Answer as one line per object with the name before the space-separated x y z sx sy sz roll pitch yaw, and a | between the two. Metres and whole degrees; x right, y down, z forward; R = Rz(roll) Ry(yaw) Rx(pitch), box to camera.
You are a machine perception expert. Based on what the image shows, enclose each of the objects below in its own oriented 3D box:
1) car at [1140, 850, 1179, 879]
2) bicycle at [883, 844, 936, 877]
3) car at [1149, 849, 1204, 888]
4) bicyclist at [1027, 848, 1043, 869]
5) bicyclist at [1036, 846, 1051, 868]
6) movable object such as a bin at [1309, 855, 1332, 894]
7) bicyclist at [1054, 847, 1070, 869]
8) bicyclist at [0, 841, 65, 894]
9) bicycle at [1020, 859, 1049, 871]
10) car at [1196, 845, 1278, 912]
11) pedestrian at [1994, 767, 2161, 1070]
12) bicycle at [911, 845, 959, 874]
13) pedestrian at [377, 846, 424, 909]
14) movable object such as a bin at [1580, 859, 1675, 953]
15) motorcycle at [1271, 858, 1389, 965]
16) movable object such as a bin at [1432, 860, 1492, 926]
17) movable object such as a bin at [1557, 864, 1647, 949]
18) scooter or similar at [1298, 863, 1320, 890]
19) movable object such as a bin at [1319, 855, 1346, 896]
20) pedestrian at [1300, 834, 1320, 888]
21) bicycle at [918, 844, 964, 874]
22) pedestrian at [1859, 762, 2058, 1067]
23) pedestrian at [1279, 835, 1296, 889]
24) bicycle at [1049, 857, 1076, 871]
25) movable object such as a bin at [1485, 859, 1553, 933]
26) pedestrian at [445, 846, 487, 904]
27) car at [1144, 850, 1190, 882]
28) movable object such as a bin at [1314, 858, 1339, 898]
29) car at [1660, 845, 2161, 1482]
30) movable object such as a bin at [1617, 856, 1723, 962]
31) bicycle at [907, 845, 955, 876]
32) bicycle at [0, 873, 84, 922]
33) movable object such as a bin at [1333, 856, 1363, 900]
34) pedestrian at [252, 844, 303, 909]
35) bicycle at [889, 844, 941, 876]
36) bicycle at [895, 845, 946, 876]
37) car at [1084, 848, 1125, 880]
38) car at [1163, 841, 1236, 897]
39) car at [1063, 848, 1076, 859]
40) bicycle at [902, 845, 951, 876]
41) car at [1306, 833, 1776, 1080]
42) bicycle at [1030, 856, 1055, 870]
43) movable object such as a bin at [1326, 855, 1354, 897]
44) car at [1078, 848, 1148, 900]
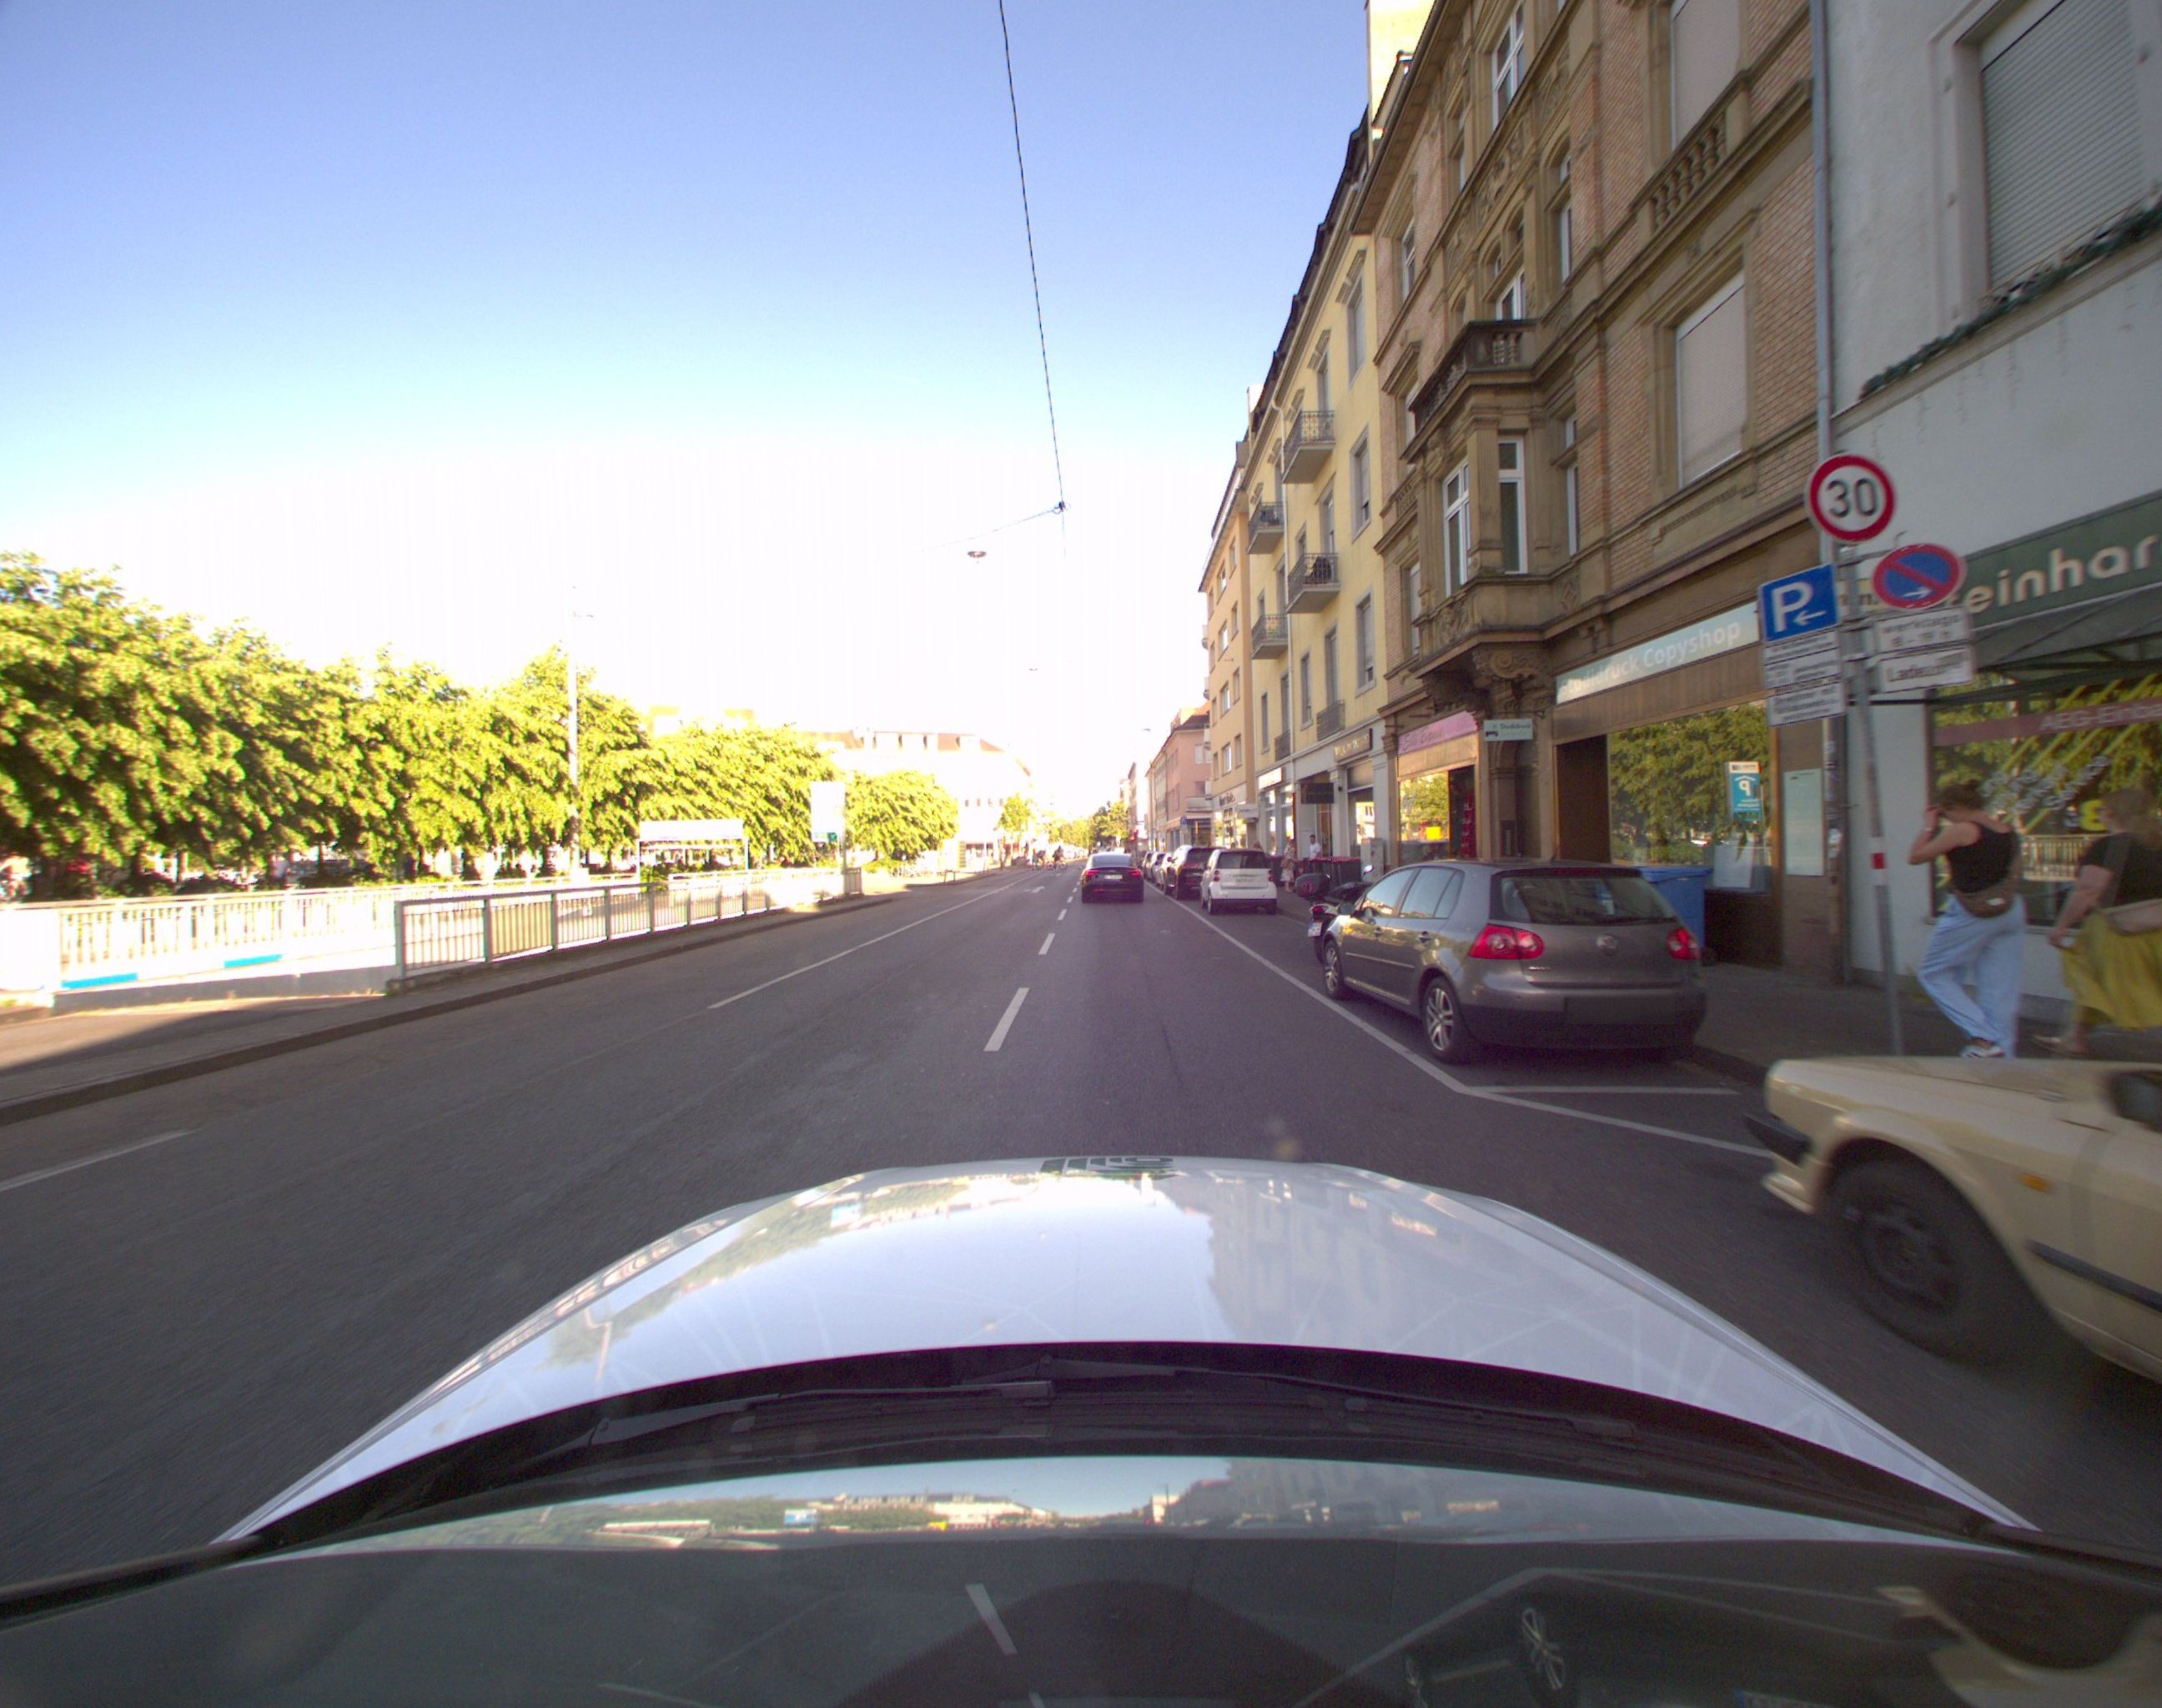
car | 4.107 0.537 43.265 1.786 1.460 3.869 0 -1 1
bicycle | -10.896 0.397 51.816 3.102 2.013 0.911 -1 0 10
car | 3.749 0.583 32.515 1.786 1.460 4.085 0 -1 1
bicyclist | -3.763 0.387 67.136 1.141 1.686 0.916 -1 0 4
bicyclist | -3.002 0.217 64.569 1.143 1.686 0.819 -1 0 -3
movable object such as a bin | 6.676 0.563 22.727 0.454 1.052 0.499 -3 0 0
bicyclist | -1.417 0.291 61.615 1.143 1.686 0.918 -1 0 -3
bicyclist | -34.829 0.437 26.917 0.962 1.700 1.209 -1 0 -4
bicycle | -3.815 0.914 67.136 2.233 0.883 0.925 -1 0 4
car | 3.800 0.543 20.191 1.607 1.546 2.857 0 1 2
pedestrian | 6.190 0.345 4.823 0.797 1.675 0.590 -3 0 3
bicycle | -10.180 0.377 56.929 3.102 2.013 0.911 -1 0 10
pedestrian | -23.099 0.782 27.656 0.726 2.108 0.973 -1 0 23
movable object such as a bin | 6.533 0.604 9.768 0.677 1.043 0.626 -3 0 1
motorcycle | 3.494 0.738 11.316 2.056 1.328 0.648 -1 0 -45
movable object such as a bin | 6.659 0.664 14.267 0.641 1.076 0.820 -3 0 2
movable object such as a bin | 6.613 0.652 10.366 0.721 1.000 0.593 -3 0 0
scooter or similar | 6.819 0.675 24.385 0.574 0.779 0.469 -4 -1 17
movable object such as a bin | 6.676 0.556 21.657 0.477 1.052 0.632 -3 0 0
pedestrian | 7.079 0.219 25.177 0.468 1.635 0.514 -1 0 6
bicycle | -9.966 0.360 57.965 3.102 2.013 0.911 -1 0 10
pedestrian | 5.379 0.355 5.022 0.617 1.766 0.519 -2 0 3
pedestrian | 6.283 0.243 24.755 0.467 1.635 0.515 -1 0 17
bicycle | -1.381 0.734 61.616 2.006 1.022 0.887 -1 0 -3
movable object such as a bin | 6.626 0.616 12.356 0.642 1.052 0.632 -3 0 0
pedestrian | -22.702 0.752 30.080 0.726 2.108 0.973 -1 0 23
car | 4.050 0.559 38.965 1.786 1.460 3.867 0 -1 0
movable object such as a bin | 6.690 0.636 22.219 0.477 1.052 0.468 -3 0 0
car | 3.263 0.711 1.606 1.603 1.449 3.831 0 1 1
movable object such as a bin | 6.529 0.596 9.058 0.677 1.096 0.626 -3 0 1
bicycle | -10.281 0.444 55.887 3.102 2.013 0.911 -1 0 10
bicycle | -34.816 1.419 26.742 0.962 1.503 2.684 -1 0 -4
movable object such as a bin | 6.664 0.588 20.348 0.477 1.052 0.632 -3 0 0
pedestrian | -26.638 0.729 27.001 0.726 2.108 0.973 -1 0 23
bicycle | -10.760 0.407 52.771 3.102 2.013 0.911 -1 0 10
bicycle | -10.597 0.432 53.761 3.102 2.013 0.911 -1 0 10
car | 1.238 0.477 41.279 1.927 1.487 4.274 -1 0 3
car | 3.704 0.477 26.022 1.711 1.635 4.082 0 -1 -1
car | -2.000 -0.148 141.228 1.986 1.771 4.003 0 1 2
bicycle | -10.406 0.458 54.805 3.102 2.013 0.911 -1 0 10
car | 3.476 0.620 7.232 1.833 1.546 4.228 0 1 0
bicycle | -3.049 0.727 64.572 2.007 1.022 0.761 -1 0 -3
movable object such as a bin | 6.670 0.563 20.988 0.493 1.052 0.632 -3 0 0
car | 0.905 0.599 25.309 1.989 1.480 4.494 0 -1 0
